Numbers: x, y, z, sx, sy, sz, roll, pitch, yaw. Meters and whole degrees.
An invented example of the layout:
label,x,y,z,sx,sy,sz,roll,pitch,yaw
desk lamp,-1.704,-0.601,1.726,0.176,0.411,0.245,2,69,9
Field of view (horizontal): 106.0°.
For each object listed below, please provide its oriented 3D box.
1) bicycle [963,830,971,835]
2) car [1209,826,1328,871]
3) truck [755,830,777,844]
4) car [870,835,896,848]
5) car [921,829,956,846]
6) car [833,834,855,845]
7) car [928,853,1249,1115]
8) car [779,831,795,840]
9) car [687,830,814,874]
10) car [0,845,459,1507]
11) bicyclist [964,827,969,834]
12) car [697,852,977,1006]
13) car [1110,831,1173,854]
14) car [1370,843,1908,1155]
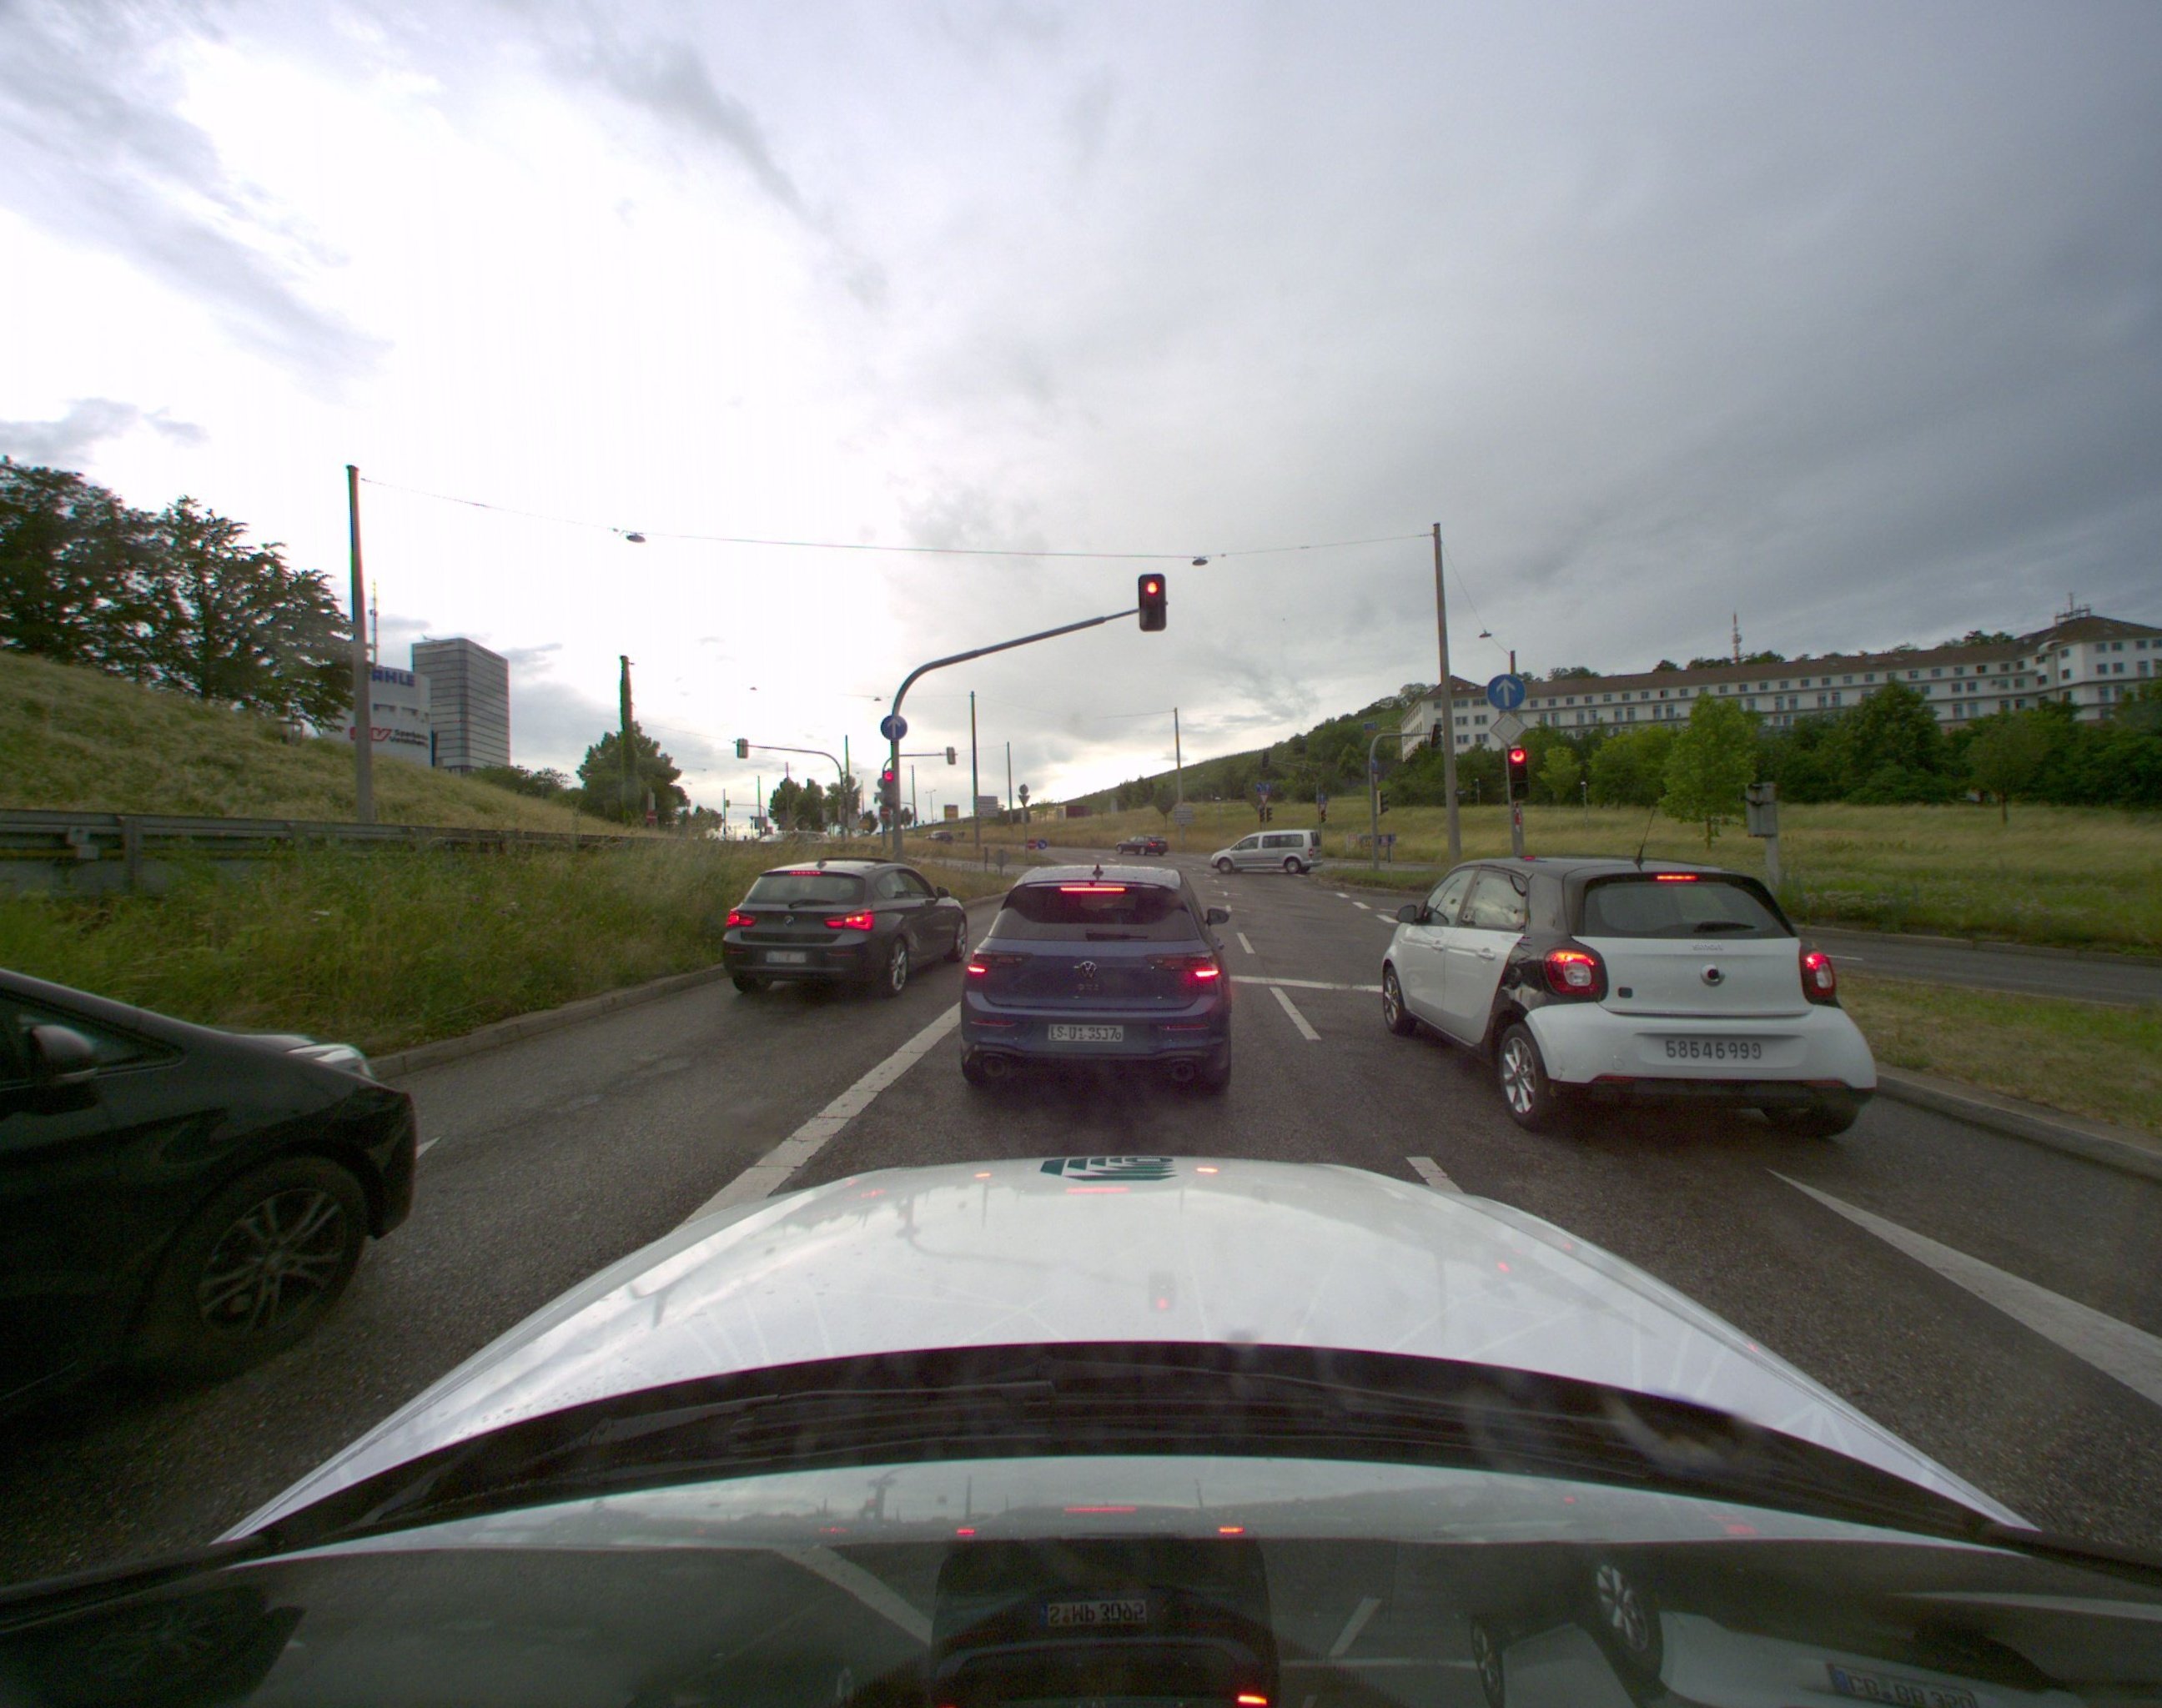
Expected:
label,x,y,z,sx,sy,sz,roll,pitch,yaw
bicycle,-16.460,-3.063,117.187,0.521,0.775,1.605,2,0,-31
car,8.084,-0.222,35.164,4.638,1.850,1.833,-1,1,30
truck,-72.795,-3.879,188.009,3.281,3.074,6.111,2,0,-35
car,-26.366,-1.631,108.144,2.008,1.477,4.455,0,-1,-33
car,-15.414,-1.759,87.901,2.008,1.637,4.373,0,-1,-35
car,-36.420,-2.185,125.101,2.007,1.477,4.375,0,-1,-33
car,0.263,0.736,6.532,1.815,1.460,3.816,-1,0,7
car,-60.436,-3.753,167.491,2.008,1.659,4.497,0,-1,-33
car,-13.087,-0.059,32.554,1.975,1.620,4.551,-1,-1,26
car,-3.302,0.733,1.264,1.635,1.504,3.781,0,0,3
bicyclist,-16.446,-3.347,117.177,0.527,1.046,0.574,2,0,-33
car,-2.642,0.734,9.946,1.693,1.459,4.123,-1,0,7
car,4.306,-0.799,58.729,2.008,1.618,4.801,0,0,-34
car,3.331,0.731,5.729,1.649,1.503,3.456,-1,-1,6
